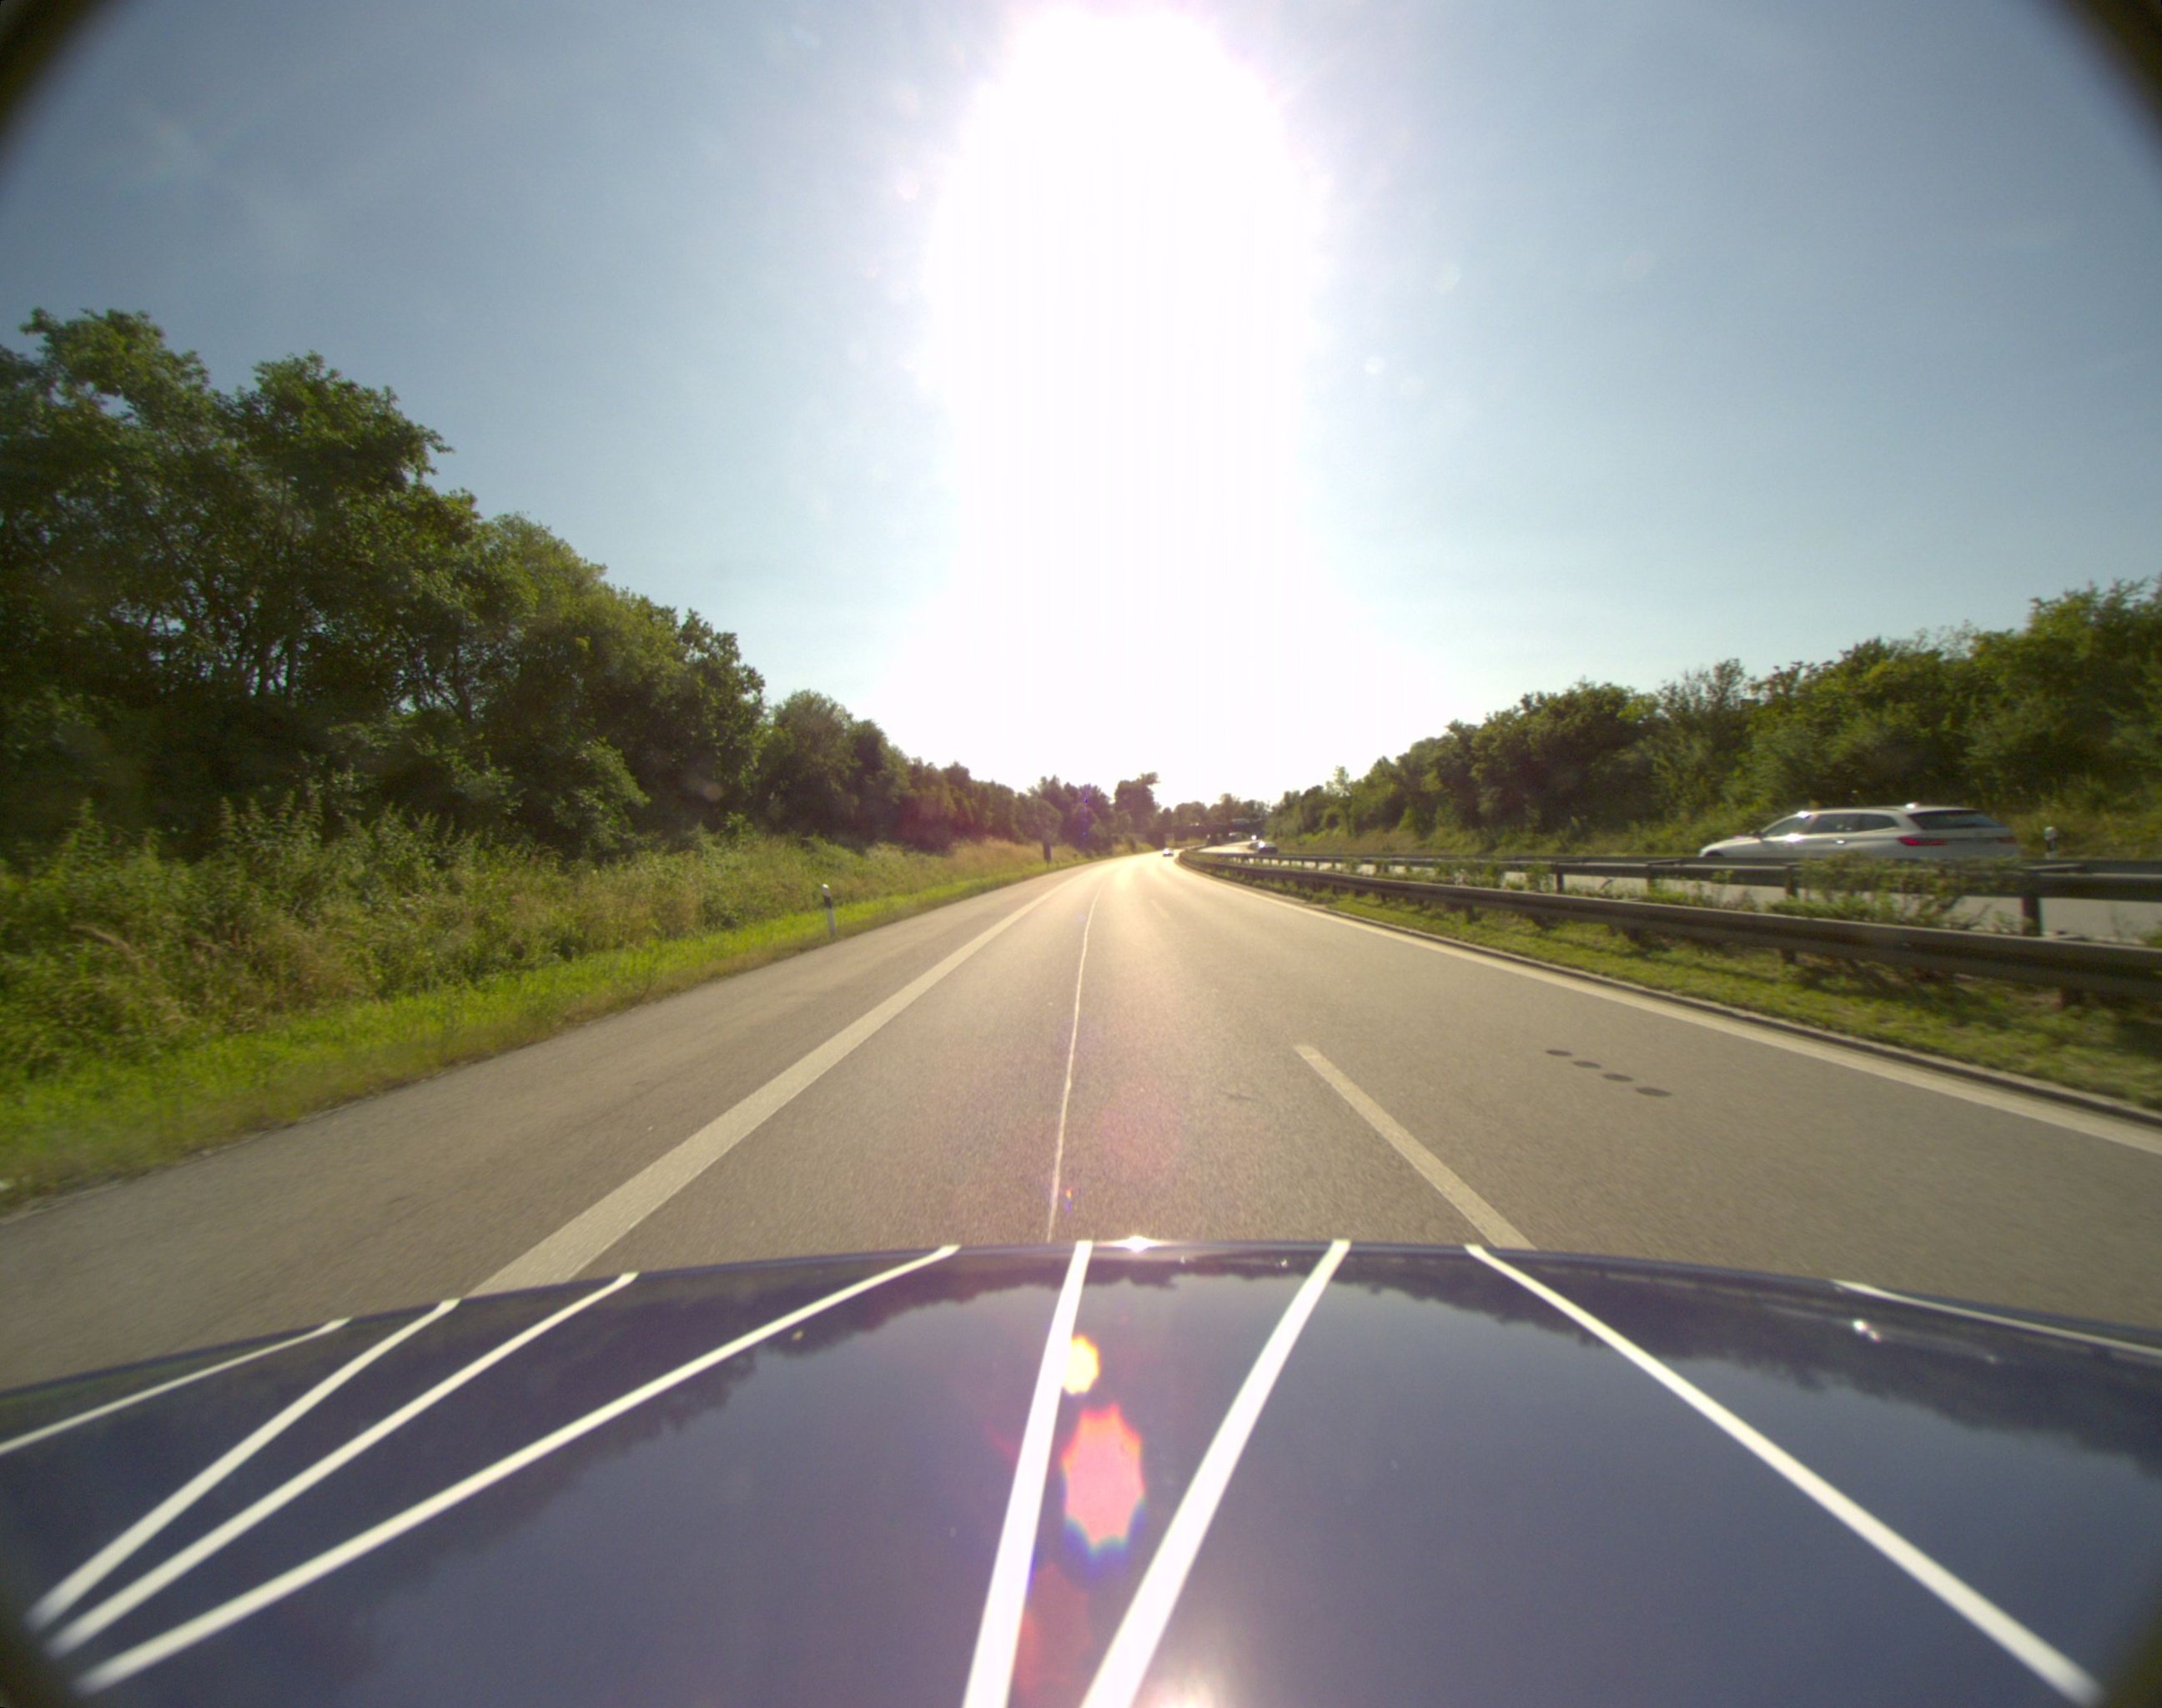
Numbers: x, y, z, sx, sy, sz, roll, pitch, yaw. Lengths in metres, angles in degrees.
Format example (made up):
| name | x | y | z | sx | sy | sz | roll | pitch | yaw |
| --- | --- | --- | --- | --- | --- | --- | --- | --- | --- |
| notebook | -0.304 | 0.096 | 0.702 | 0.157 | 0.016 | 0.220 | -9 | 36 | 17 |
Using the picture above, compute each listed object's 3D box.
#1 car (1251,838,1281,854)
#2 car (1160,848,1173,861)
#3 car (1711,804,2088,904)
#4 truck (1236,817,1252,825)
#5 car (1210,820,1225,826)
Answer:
| name | x | y | z | sx | sy | sz | roll | pitch | yaw |
| --- | --- | --- | --- | --- | --- | --- | --- | --- | --- |
| car | 18.515 | -0.833 | 76.170 | 1.971 | 1.555 | 5.174 | -1 | 1 | 3 |
| car | 14.635 | 0.126 | 130.883 | 1.998 | 2.002 | 4.600 | -5 | 0 | 5 |
| car | 13.835 | 0.002 | 13.346 | 1.904 | 1.413 | 4.398 | -1 | 0 | 1 |
| truck | 49.398 | -10.022 | 230.222 | 4.863 | 2.155 | 2.001 | -2 | 3 | 14 |
| car | 41.770 | -9.480 | 232.125 | 4.434 | 1.547 | 1.908 | -2 | 2 | 15 |
